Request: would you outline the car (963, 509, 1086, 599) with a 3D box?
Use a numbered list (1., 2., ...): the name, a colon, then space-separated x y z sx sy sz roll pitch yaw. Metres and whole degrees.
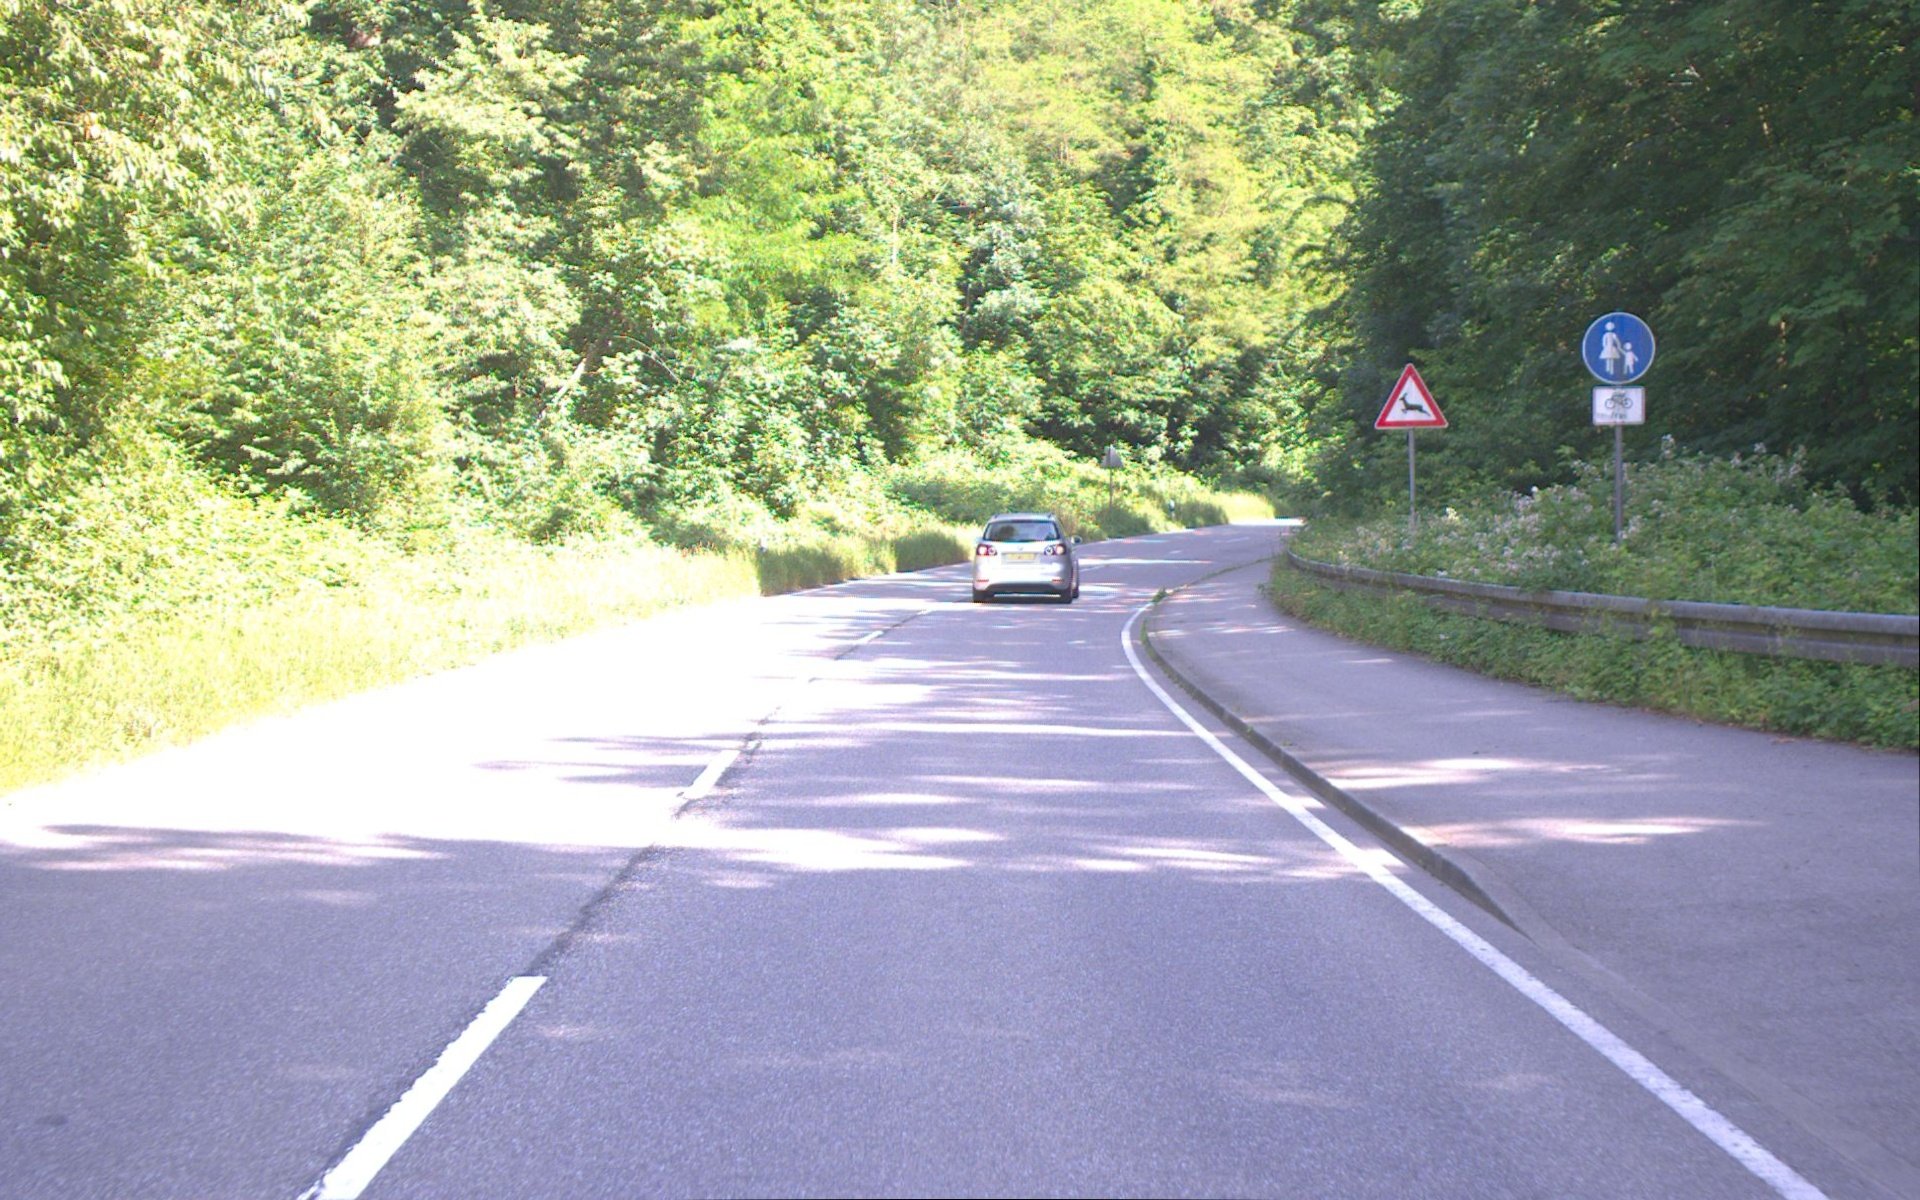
1. car: 1.173 -0.837 60.855 1.751 1.514 4.158 1 2 7
